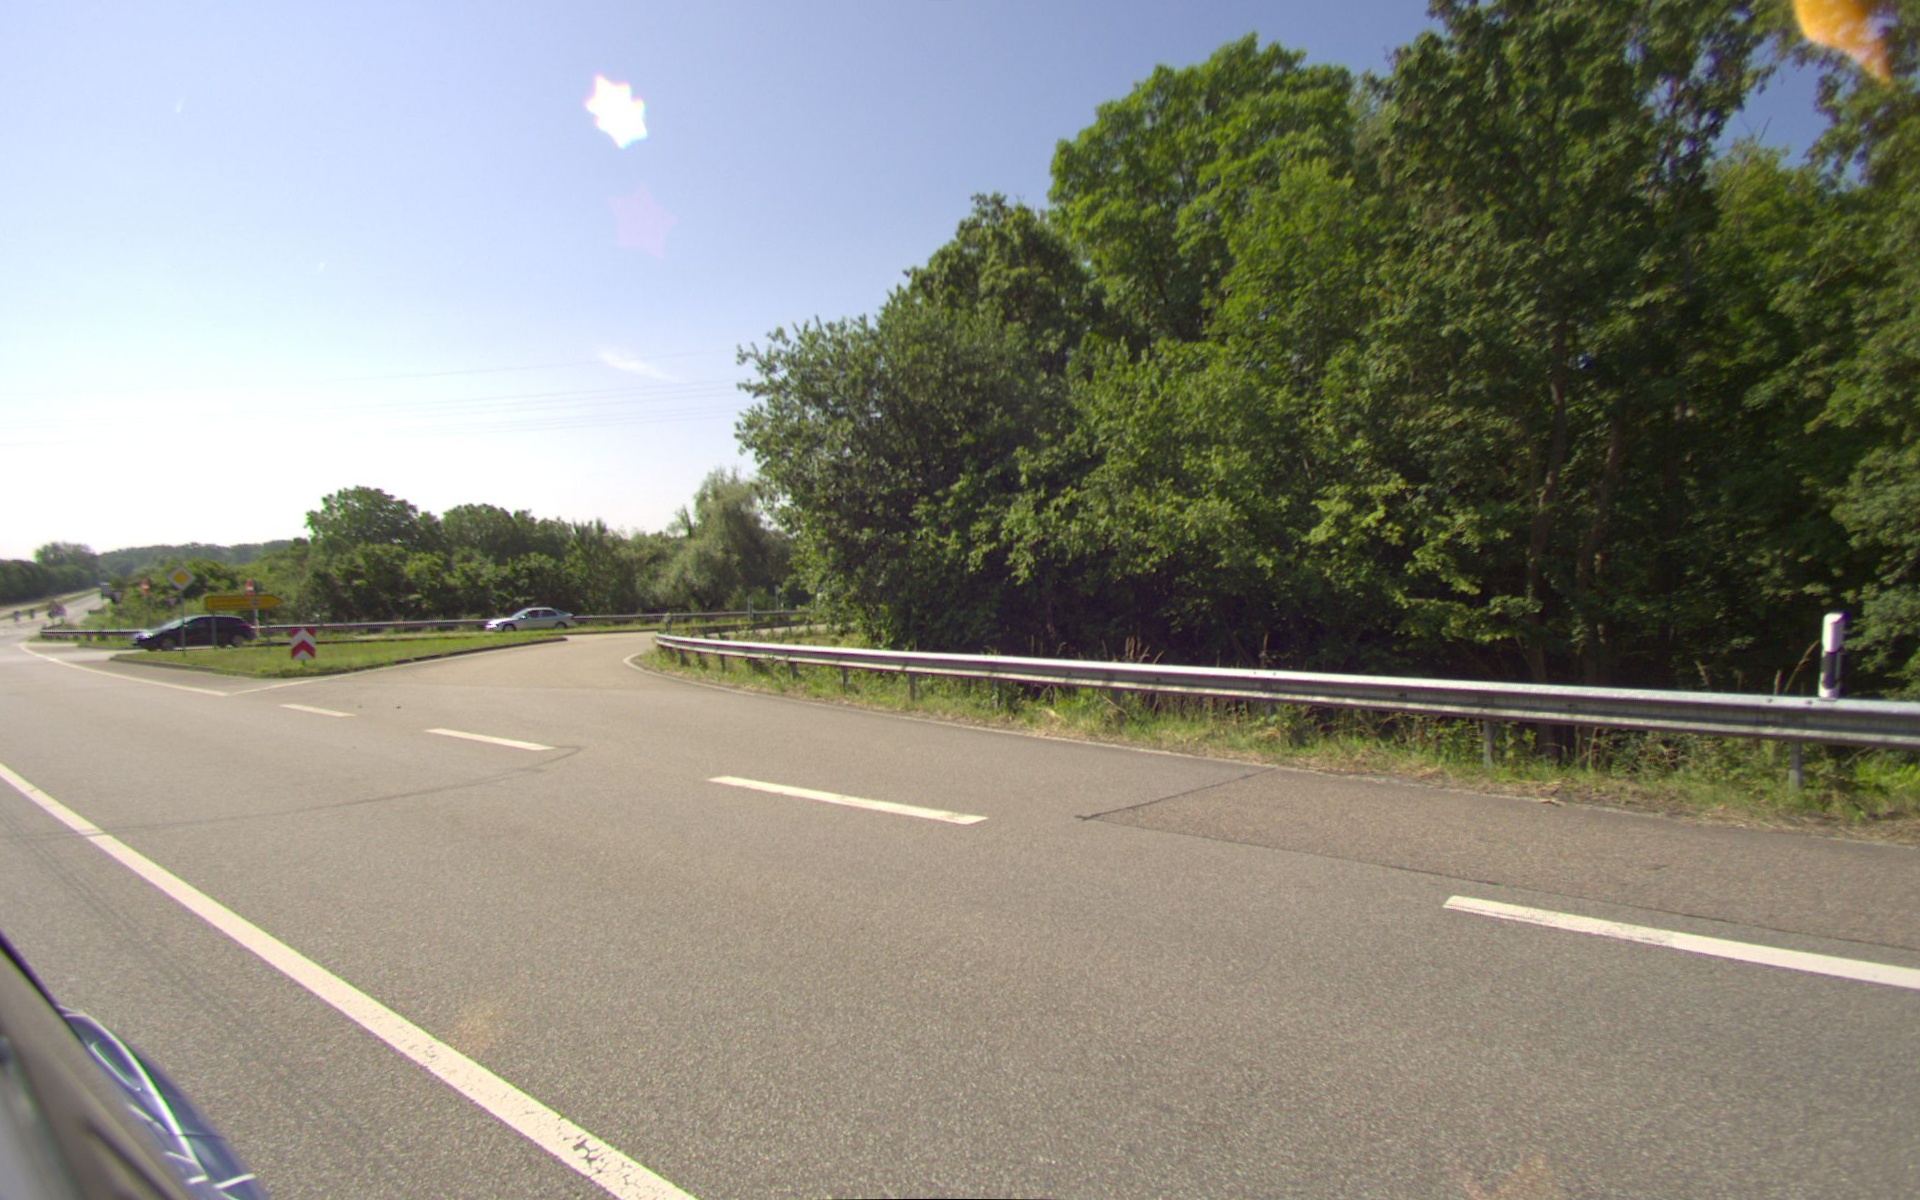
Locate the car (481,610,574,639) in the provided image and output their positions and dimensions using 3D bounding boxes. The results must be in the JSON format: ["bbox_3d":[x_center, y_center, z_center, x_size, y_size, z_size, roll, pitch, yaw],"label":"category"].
[{"bbox_3d":[-23.534,1.308,55.116,4.307,1.395,1.792,-1,0,-37],"label":"car"}]

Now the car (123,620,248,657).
[{"bbox_3d":[-33.553,1.659,43.931,1.782,1.425,3.957,-2,0,31],"label":"car"}]

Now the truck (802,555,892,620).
[{"bbox_3d":[-7.772,-0.875,69.839,2.940,4.269,5.653,1,2,42],"label":"truck"}]
